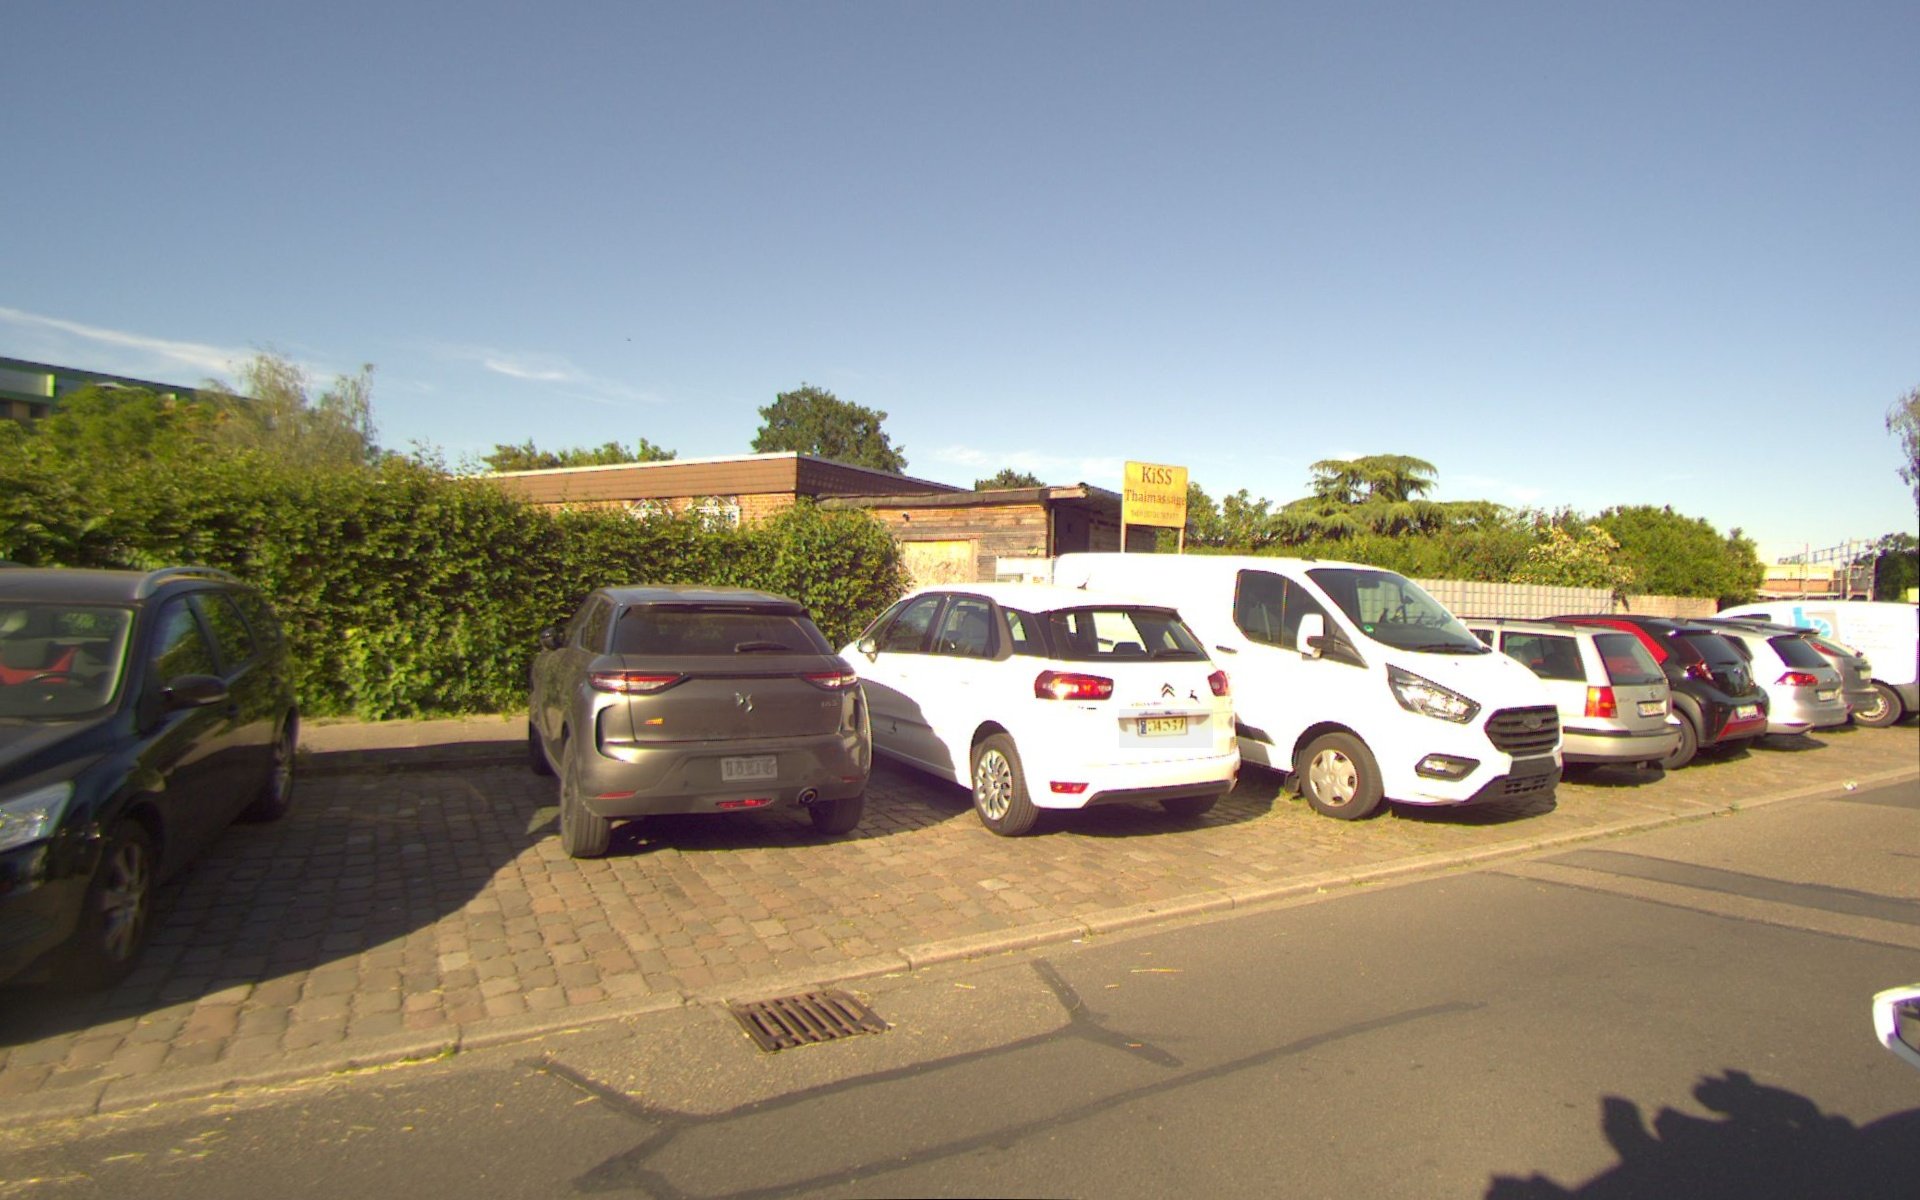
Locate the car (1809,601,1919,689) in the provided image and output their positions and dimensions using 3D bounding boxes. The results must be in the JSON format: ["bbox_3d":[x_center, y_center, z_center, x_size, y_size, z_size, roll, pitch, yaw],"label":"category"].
[{"bbox_3d":[22.803,1.080,22.968,1.981,1.941,4.837,2,0,-36],"label":"car"}]

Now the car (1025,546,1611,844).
[{"bbox_3d":[2.837,0.554,9.205,2.058,1.946,4.763,2,2,-31],"label":"car"}]

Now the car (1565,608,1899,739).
[{"bbox_3d":[11.290,0.994,14.929,1.707,1.509,3.497,2,2,-29],"label":"car"}]

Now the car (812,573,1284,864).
[{"bbox_3d":[0.395,0.683,8.062,1.860,1.604,3.970,2,2,-28],"label":"car"}]

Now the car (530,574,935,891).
[{"bbox_3d":[-1.872,0.658,7.151,1.860,1.507,3.752,2,2,-28],"label":"car"}]

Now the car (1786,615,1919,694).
[{"bbox_3d":[20.697,1.223,21.603,1.905,1.512,4.112,2,2,-33],"label":"car"}]

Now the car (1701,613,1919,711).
[{"bbox_3d":[16.512,1.117,18.874,1.773,1.553,3.785,2,1,-37],"label":"car"}]

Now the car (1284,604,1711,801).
[{"bbox_3d":[5.275,0.888,10.309,1.617,1.466,3.497,2,2,-29],"label":"car"}]

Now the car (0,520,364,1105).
[{"bbox_3d":[-4.225,0.509,4.597,1.856,1.729,4.143,2,2,-21],"label":"car"}]

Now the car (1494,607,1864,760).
[{"bbox_3d":[9.142,0.964,13.065,1.617,1.509,3.497,2,2,-29],"label":"car"}]

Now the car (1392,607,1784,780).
[{"bbox_3d":[7.112,0.924,11.701,1.619,1.509,3.491,0,3,-34],"label":"car"}]

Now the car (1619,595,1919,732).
[{"bbox_3d":[13.199,0.894,16.101,1.906,1.804,3.950,1,2,-35],"label":"car"}]

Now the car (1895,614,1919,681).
[{"bbox_3d":[25.148,1.277,24.100,1.714,1.628,3.591,2,2,-32],"label":"car"}]
